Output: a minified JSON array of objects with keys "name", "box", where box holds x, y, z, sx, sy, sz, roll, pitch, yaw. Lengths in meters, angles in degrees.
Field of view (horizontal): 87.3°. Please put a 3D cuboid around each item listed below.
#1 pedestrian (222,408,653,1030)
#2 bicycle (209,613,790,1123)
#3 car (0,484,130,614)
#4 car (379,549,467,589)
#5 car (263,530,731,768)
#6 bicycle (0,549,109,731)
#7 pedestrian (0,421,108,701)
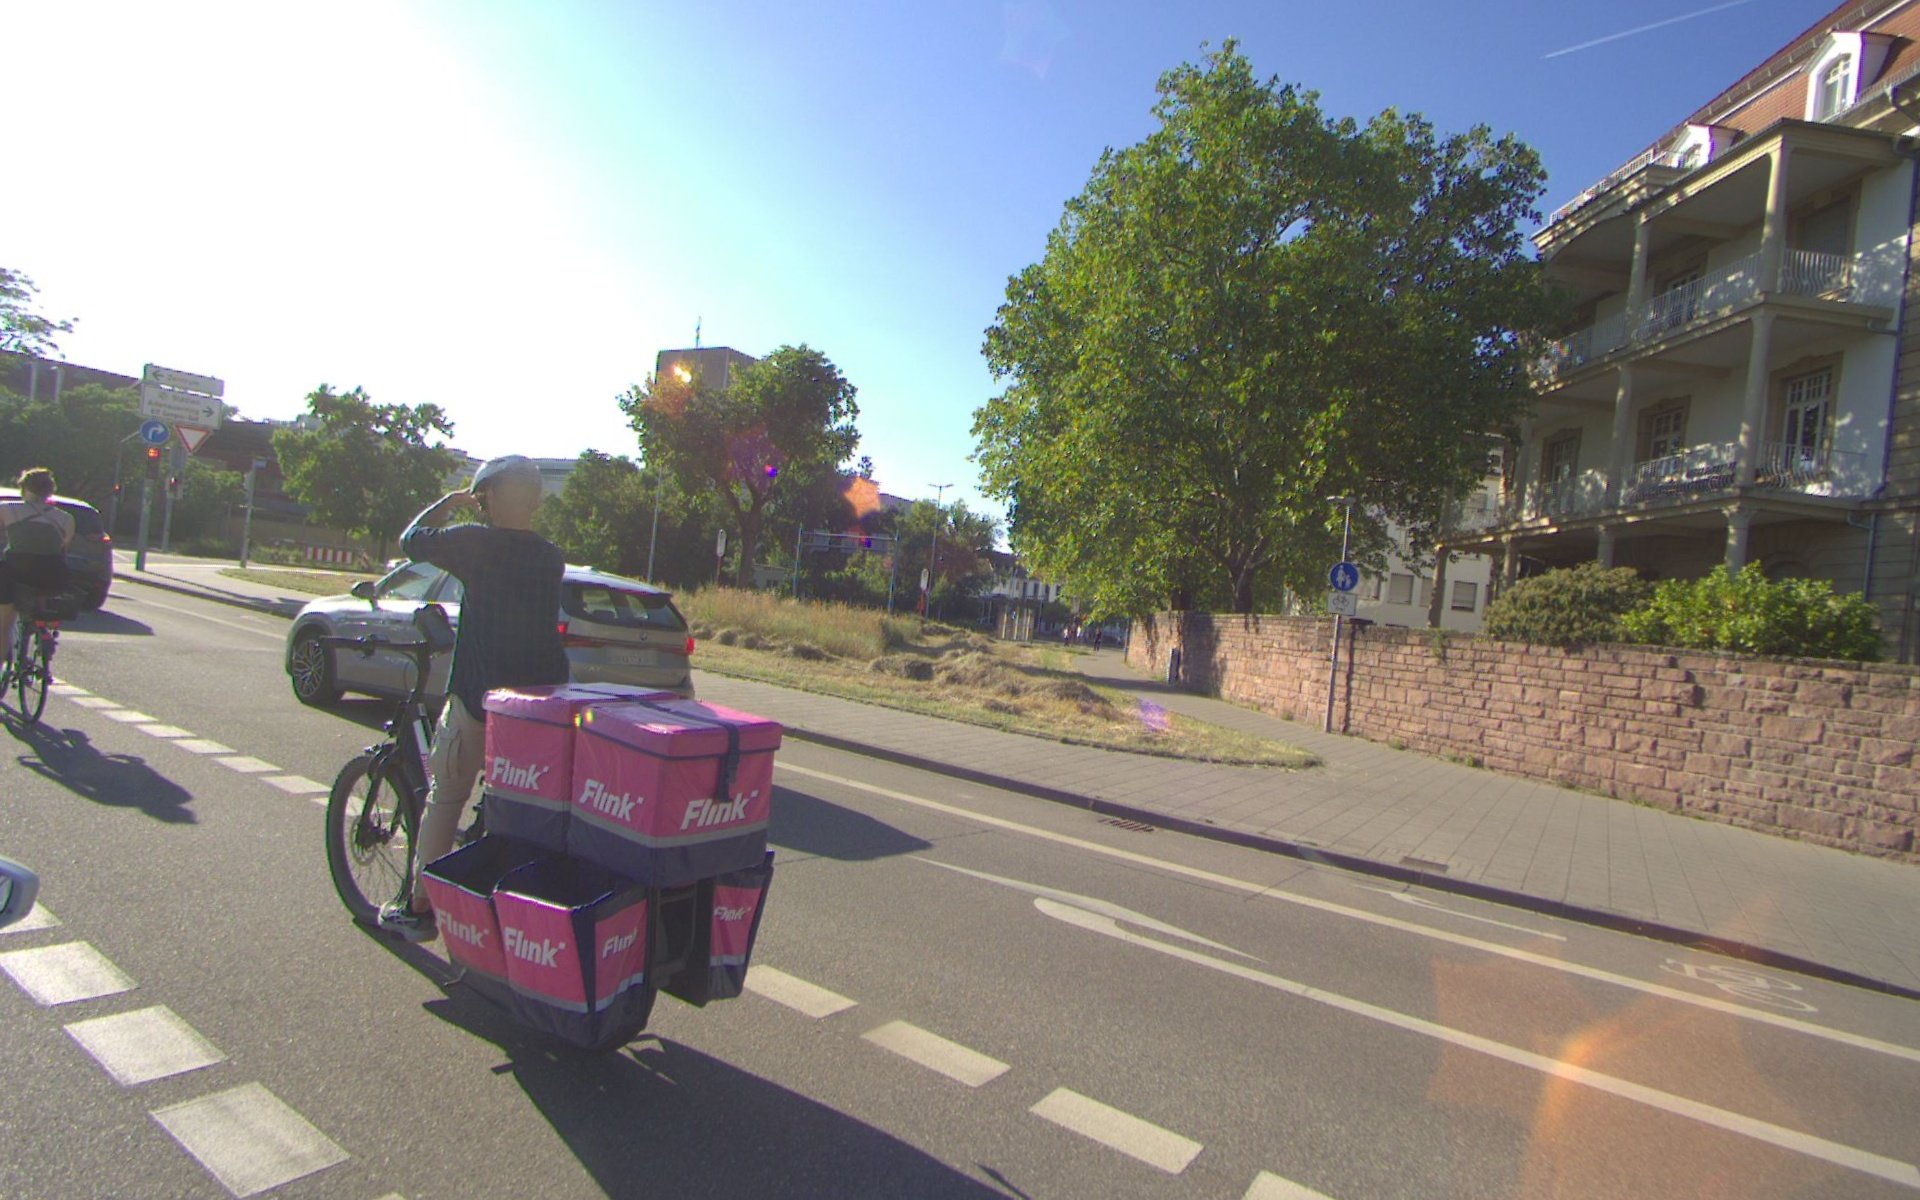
[{"name":"pedestrian","box":[-1.857,0.358,3.631,0.940,1.890,0.808,6,-2,29]},{"name":"bicycle","box":[-1.737,0.758,3.567,2.333,1.184,0.555,5,-2,32]},{"name":"car","box":[-15.062,-0.882,15.791,4.299,1.708,1.834,5,-3,34]},{"name":"car","box":[-27.855,-1.595,52.260,1.627,1.579,3.632,7,-1,42]},{"name":"car","box":[-4.418,0.381,9.433,4.258,1.612,1.790,6,-2,32]},{"name":"bicycle","box":[-6.895,0.231,7.286,1.919,1.164,0.564,5,-2,36]},{"name":"pedestrian","box":[-6.812,-0.279,7.245,0.859,1.890,0.659,5,-2,35]}]
